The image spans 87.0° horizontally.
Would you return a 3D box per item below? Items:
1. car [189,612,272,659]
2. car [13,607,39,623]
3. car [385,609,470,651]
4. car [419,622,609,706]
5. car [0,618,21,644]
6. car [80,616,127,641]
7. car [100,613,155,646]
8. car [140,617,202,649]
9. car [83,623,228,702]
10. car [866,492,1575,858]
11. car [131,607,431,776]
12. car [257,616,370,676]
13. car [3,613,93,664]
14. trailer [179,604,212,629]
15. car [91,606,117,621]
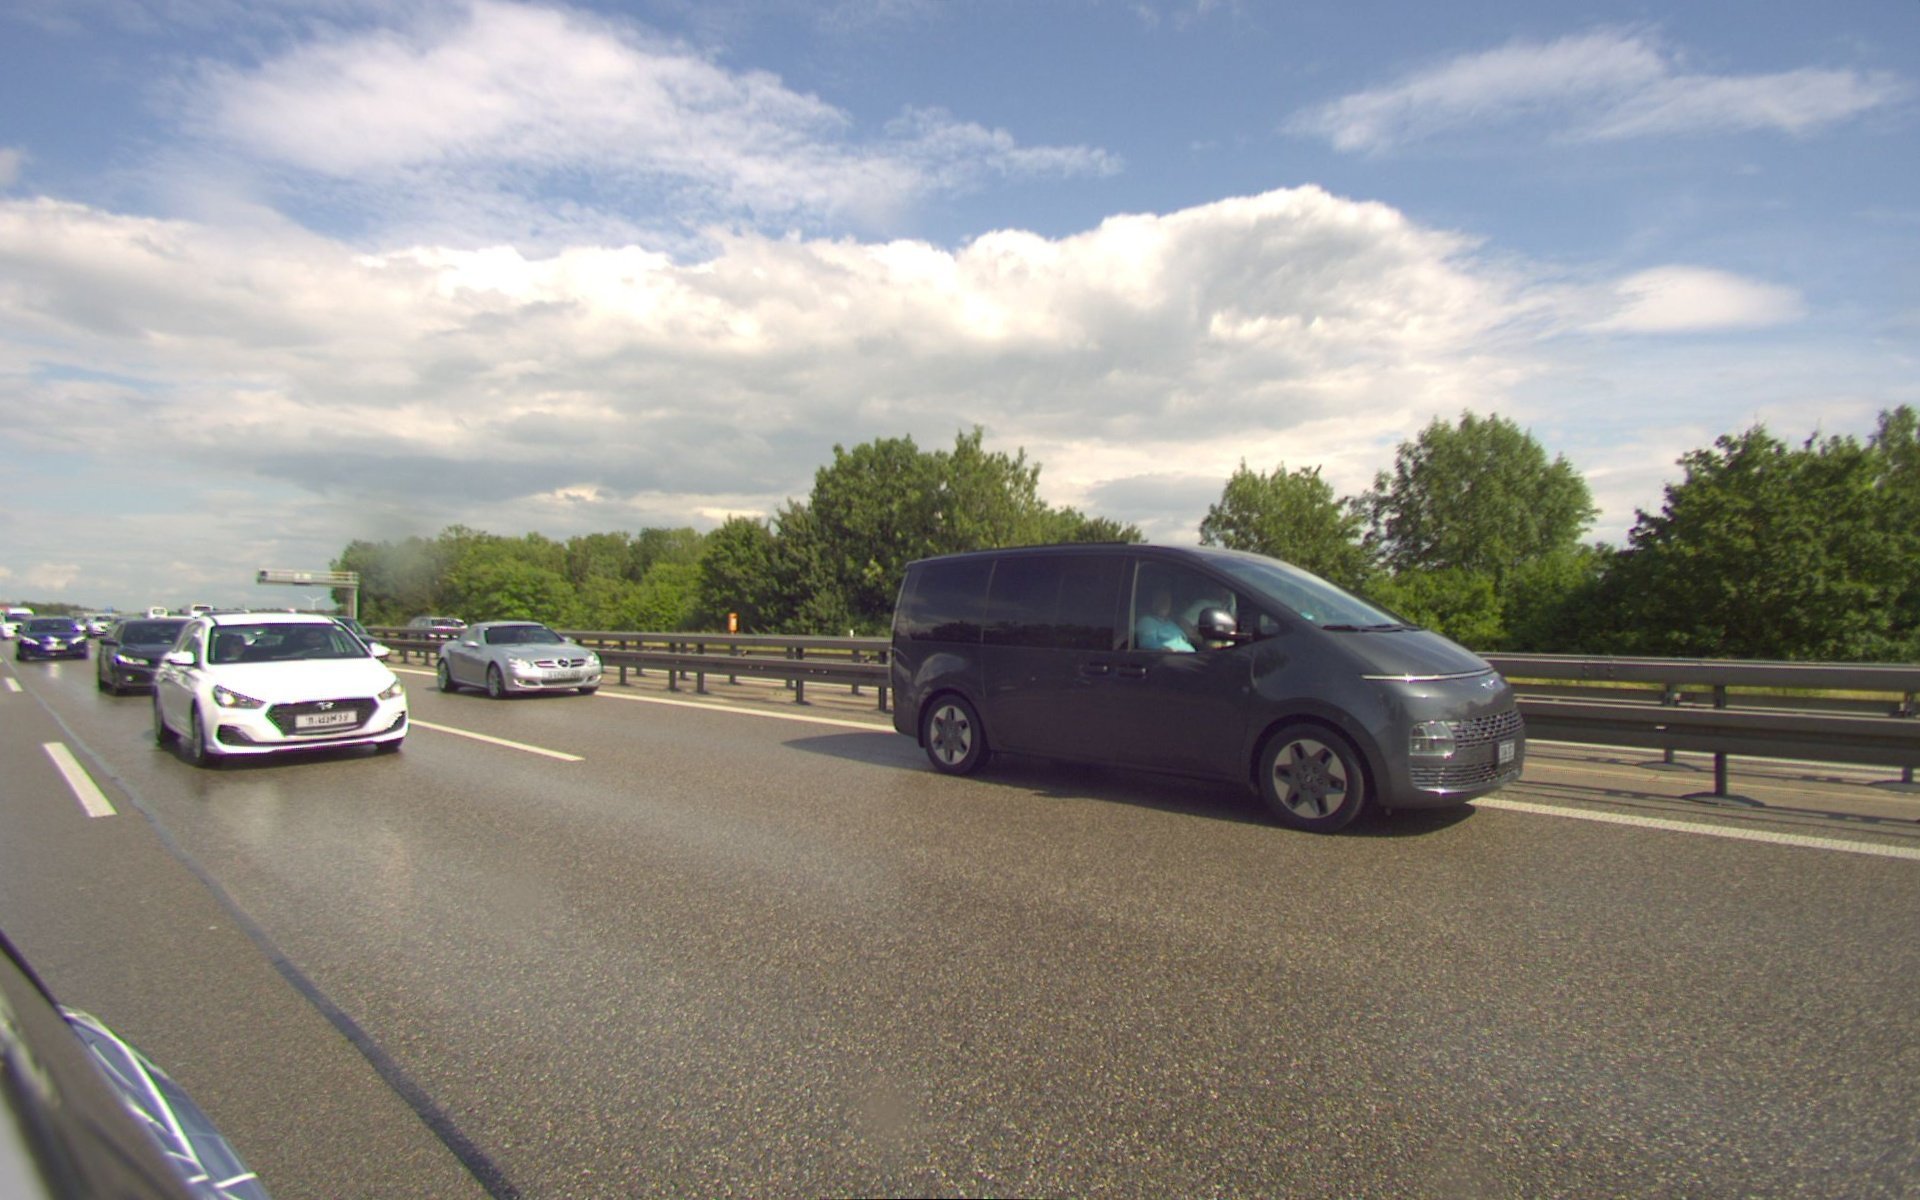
[{"bbox_3d":[-26.943,1.264,37.332,1.849,1.618,4.231,0,-1,-45],"label":"car"},{"bbox_3d":[-106.134,1.733,114.978,4.001,1.710,1.971,0,1,44],"label":"car"},{"bbox_3d":[-23.280,1.275,44.209,4.153,1.719,1.972,-1,-1,42],"label":"car"},{"bbox_3d":[-7.981,1.050,17.954,4.065,1.288,1.705,-1,-1,44],"label":"car"},{"bbox_3d":[-61.562,1.991,64.737,4.001,1.490,1.971,0,1,44],"label":"car"},{"bbox_3d":[-57.078,1.890,67.414,4.001,1.490,1.971,0,1,44],"label":"car"},{"bbox_3d":[-48.272,1.664,58.669,4.001,1.761,1.971,0,1,44],"label":"car"},{"bbox_3d":[-37.134,1.528,47.598,4.001,1.389,1.747,0,0,44],"label":"car"},{"bbox_3d":[-15.720,1.129,19.695,4.289,1.348,1.705,-1,-1,44],"label":"car"},{"bbox_3d":[1.703,0.453,8.181,5.271,2.029,1.971,-1,-1,44],"label":"car"},{"bbox_3d":[-7.596,0.838,11.123,4.549,1.466,1.860,-1,-1,44],"label":"car"},{"bbox_3d":[-17.424,1.175,27.192,1.746,1.436,4.141,-1,0,-45],"label":"car"},{"bbox_3d":[-30.945,1.255,34.312,4.001,1.497,1.971,0,1,44],"label":"car"},{"bbox_3d":[-110.133,2.377,145.707,2.698,3.407,9.568,0,-1,-44],"label":"trailer"},{"bbox_3d":[-102.838,1.625,121.561,4.463,1.792,1.971,-1,-1,45],"label":"car"}]
